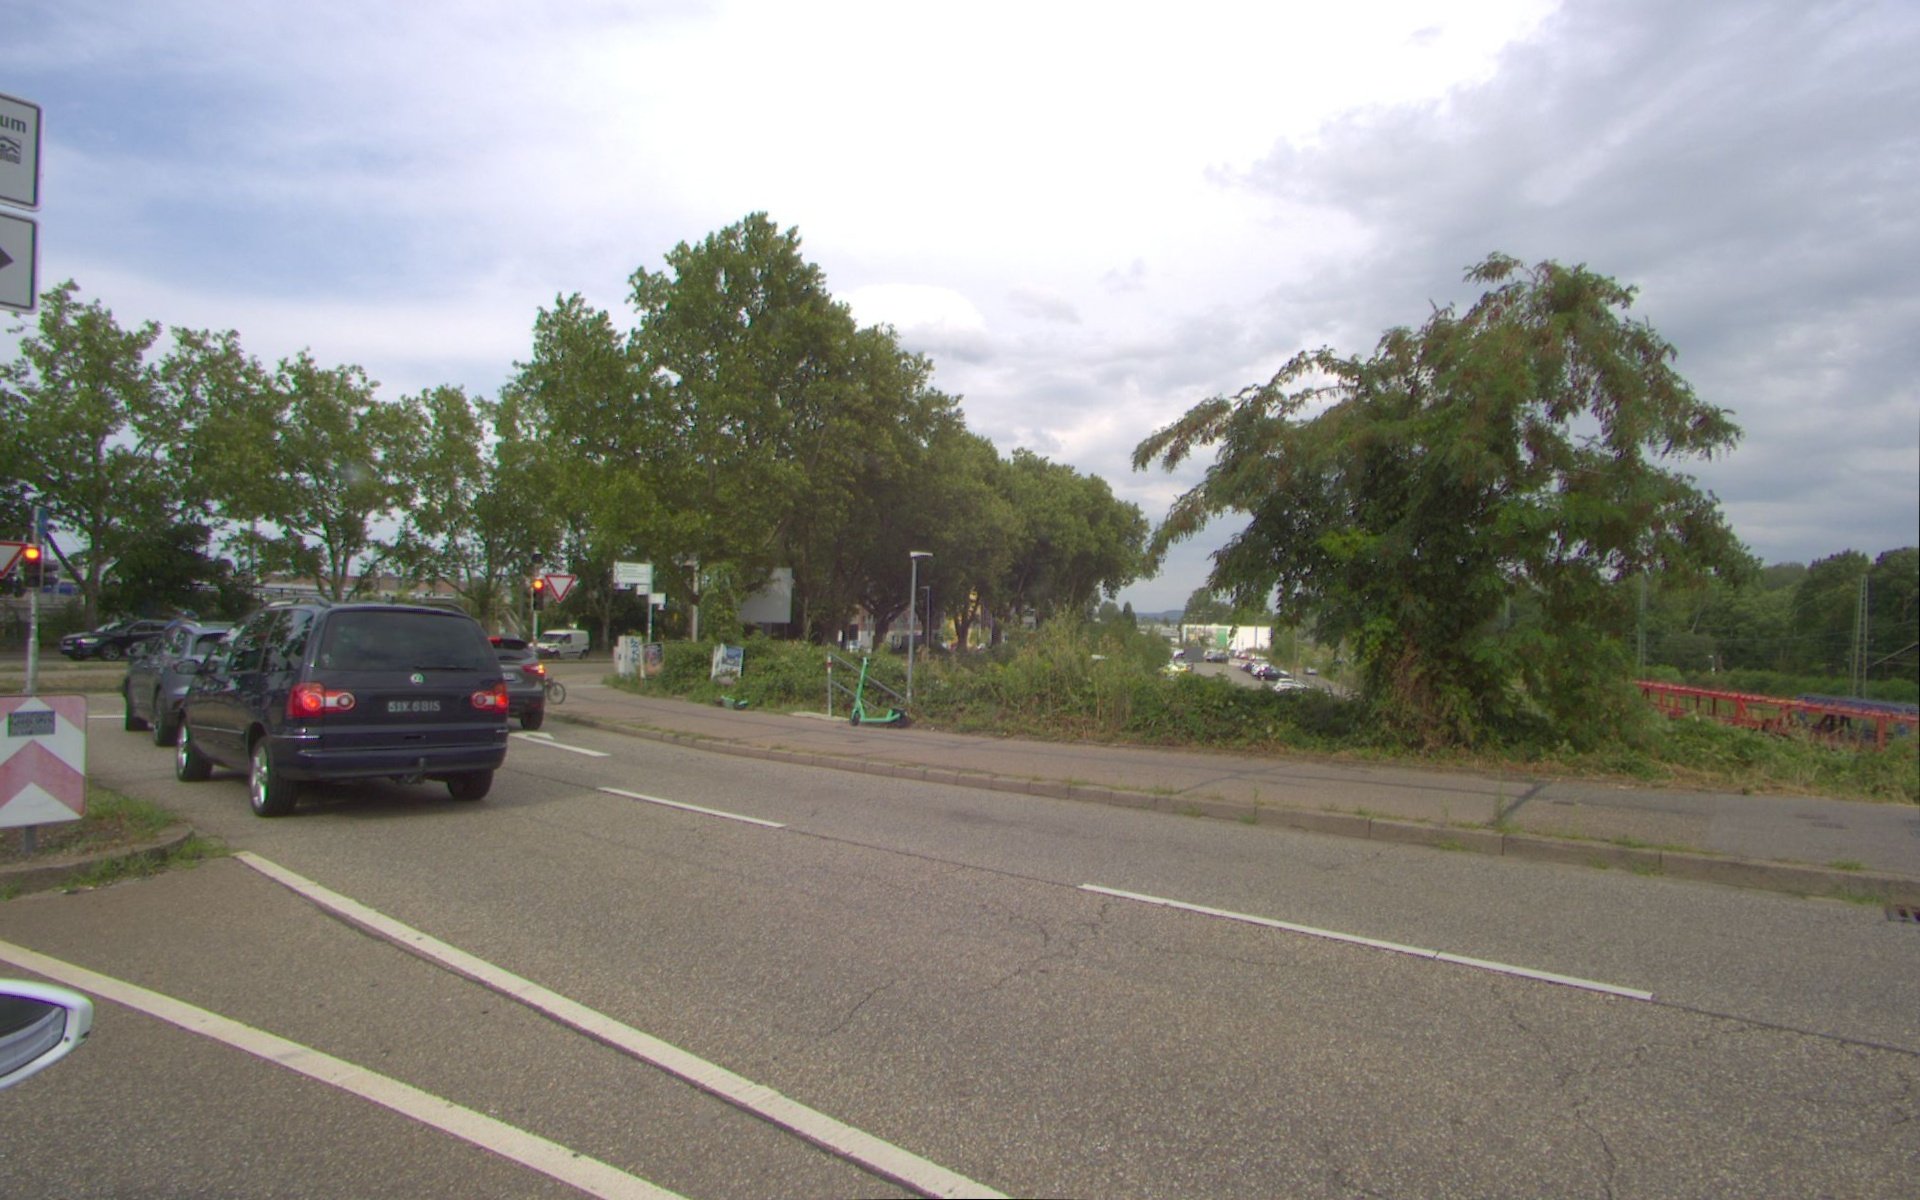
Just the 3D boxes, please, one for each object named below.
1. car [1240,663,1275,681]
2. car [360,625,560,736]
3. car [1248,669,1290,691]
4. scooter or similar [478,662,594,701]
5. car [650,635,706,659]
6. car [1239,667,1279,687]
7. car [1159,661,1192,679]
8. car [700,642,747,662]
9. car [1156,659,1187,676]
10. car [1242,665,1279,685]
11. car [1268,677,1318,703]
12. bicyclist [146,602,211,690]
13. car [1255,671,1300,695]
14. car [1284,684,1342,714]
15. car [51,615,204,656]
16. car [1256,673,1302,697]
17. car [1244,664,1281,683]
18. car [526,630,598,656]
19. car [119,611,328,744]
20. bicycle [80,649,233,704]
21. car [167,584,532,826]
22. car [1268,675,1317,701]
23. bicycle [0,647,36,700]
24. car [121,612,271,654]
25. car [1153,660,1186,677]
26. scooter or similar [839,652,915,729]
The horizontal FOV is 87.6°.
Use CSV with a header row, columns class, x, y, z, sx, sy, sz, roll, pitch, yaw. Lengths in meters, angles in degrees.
class,x,y,z,sx,sy,sz,roll,pitch,yaw
car,36.918,8.908,124.415,3.923,2.040,1.762,1,-1,10
car,-8.634,1.314,17.150,4.094,1.663,1.742,-2,-4,44
car,32.111,8.313,104.253,3.923,2.040,1.762,1,-1,10
scooter or similar,-9.739,1.863,23.037,2.340,0.860,0.809,0,-2,5
car,-18.215,3.030,64.835,1.671,1.469,4.068,0,-2,14
car,32.901,8.475,110.282,3.923,2.040,1.762,1,-1,10
car,26.845,8.668,124.779,3.926,2.040,1.761,1,-1,16
car,-18.754,4.085,79.691,1.729,1.466,4.339,0,-1,16
car,28.018,8.879,132.507,3.926,2.040,1.761,1,-1,16
car,34.698,8.646,115.638,3.923,2.040,1.762,1,-1,10
car,28.972,7.833,87.190,3.923,2.040,1.762,1,-1,10
bicyclist,-15.380,0.890,19.708,0.802,1.678,0.876,0,-1,42
car,31.226,8.158,98.595,3.923,2.040,1.762,1,-1,10
car,26.895,7.526,76.375,3.923,2.040,1.762,1,-1,10
car,-32.191,1.361,38.889,1.729,1.466,4.339,0,-1,16
car,30.175,8.043,94.823,3.923,2.040,1.762,1,-1,10
car,36.121,8.774,119.583,3.923,2.040,1.762,1,-1,10
car,-23.701,2.536,59.795,1.729,1.466,4.339,0,-1,16
car,-10.531,1.042,14.204,4.113,1.604,1.682,-2,-4,44
bicycle,-15.580,1.459,19.474,0.802,0.965,2.217,0,-1,41
car,-5.782,0.856,9.277,4.092,1.746,1.743,-1,-4,42
car,30.024,7.937,90.502,3.923,2.040,1.762,1,-1,10
bicycle,-17.365,1.266,16.885,0.692,0.901,2.588,1,-1,18
car,-28.746,1.230,37.860,1.729,1.466,4.339,0,-1,16
car,26.715,8.733,127.678,3.926,2.040,1.761,1,-1,16
scooter or similar,-1.363,1.465,16.448,1.262,1.198,0.396,-1,-1,32
